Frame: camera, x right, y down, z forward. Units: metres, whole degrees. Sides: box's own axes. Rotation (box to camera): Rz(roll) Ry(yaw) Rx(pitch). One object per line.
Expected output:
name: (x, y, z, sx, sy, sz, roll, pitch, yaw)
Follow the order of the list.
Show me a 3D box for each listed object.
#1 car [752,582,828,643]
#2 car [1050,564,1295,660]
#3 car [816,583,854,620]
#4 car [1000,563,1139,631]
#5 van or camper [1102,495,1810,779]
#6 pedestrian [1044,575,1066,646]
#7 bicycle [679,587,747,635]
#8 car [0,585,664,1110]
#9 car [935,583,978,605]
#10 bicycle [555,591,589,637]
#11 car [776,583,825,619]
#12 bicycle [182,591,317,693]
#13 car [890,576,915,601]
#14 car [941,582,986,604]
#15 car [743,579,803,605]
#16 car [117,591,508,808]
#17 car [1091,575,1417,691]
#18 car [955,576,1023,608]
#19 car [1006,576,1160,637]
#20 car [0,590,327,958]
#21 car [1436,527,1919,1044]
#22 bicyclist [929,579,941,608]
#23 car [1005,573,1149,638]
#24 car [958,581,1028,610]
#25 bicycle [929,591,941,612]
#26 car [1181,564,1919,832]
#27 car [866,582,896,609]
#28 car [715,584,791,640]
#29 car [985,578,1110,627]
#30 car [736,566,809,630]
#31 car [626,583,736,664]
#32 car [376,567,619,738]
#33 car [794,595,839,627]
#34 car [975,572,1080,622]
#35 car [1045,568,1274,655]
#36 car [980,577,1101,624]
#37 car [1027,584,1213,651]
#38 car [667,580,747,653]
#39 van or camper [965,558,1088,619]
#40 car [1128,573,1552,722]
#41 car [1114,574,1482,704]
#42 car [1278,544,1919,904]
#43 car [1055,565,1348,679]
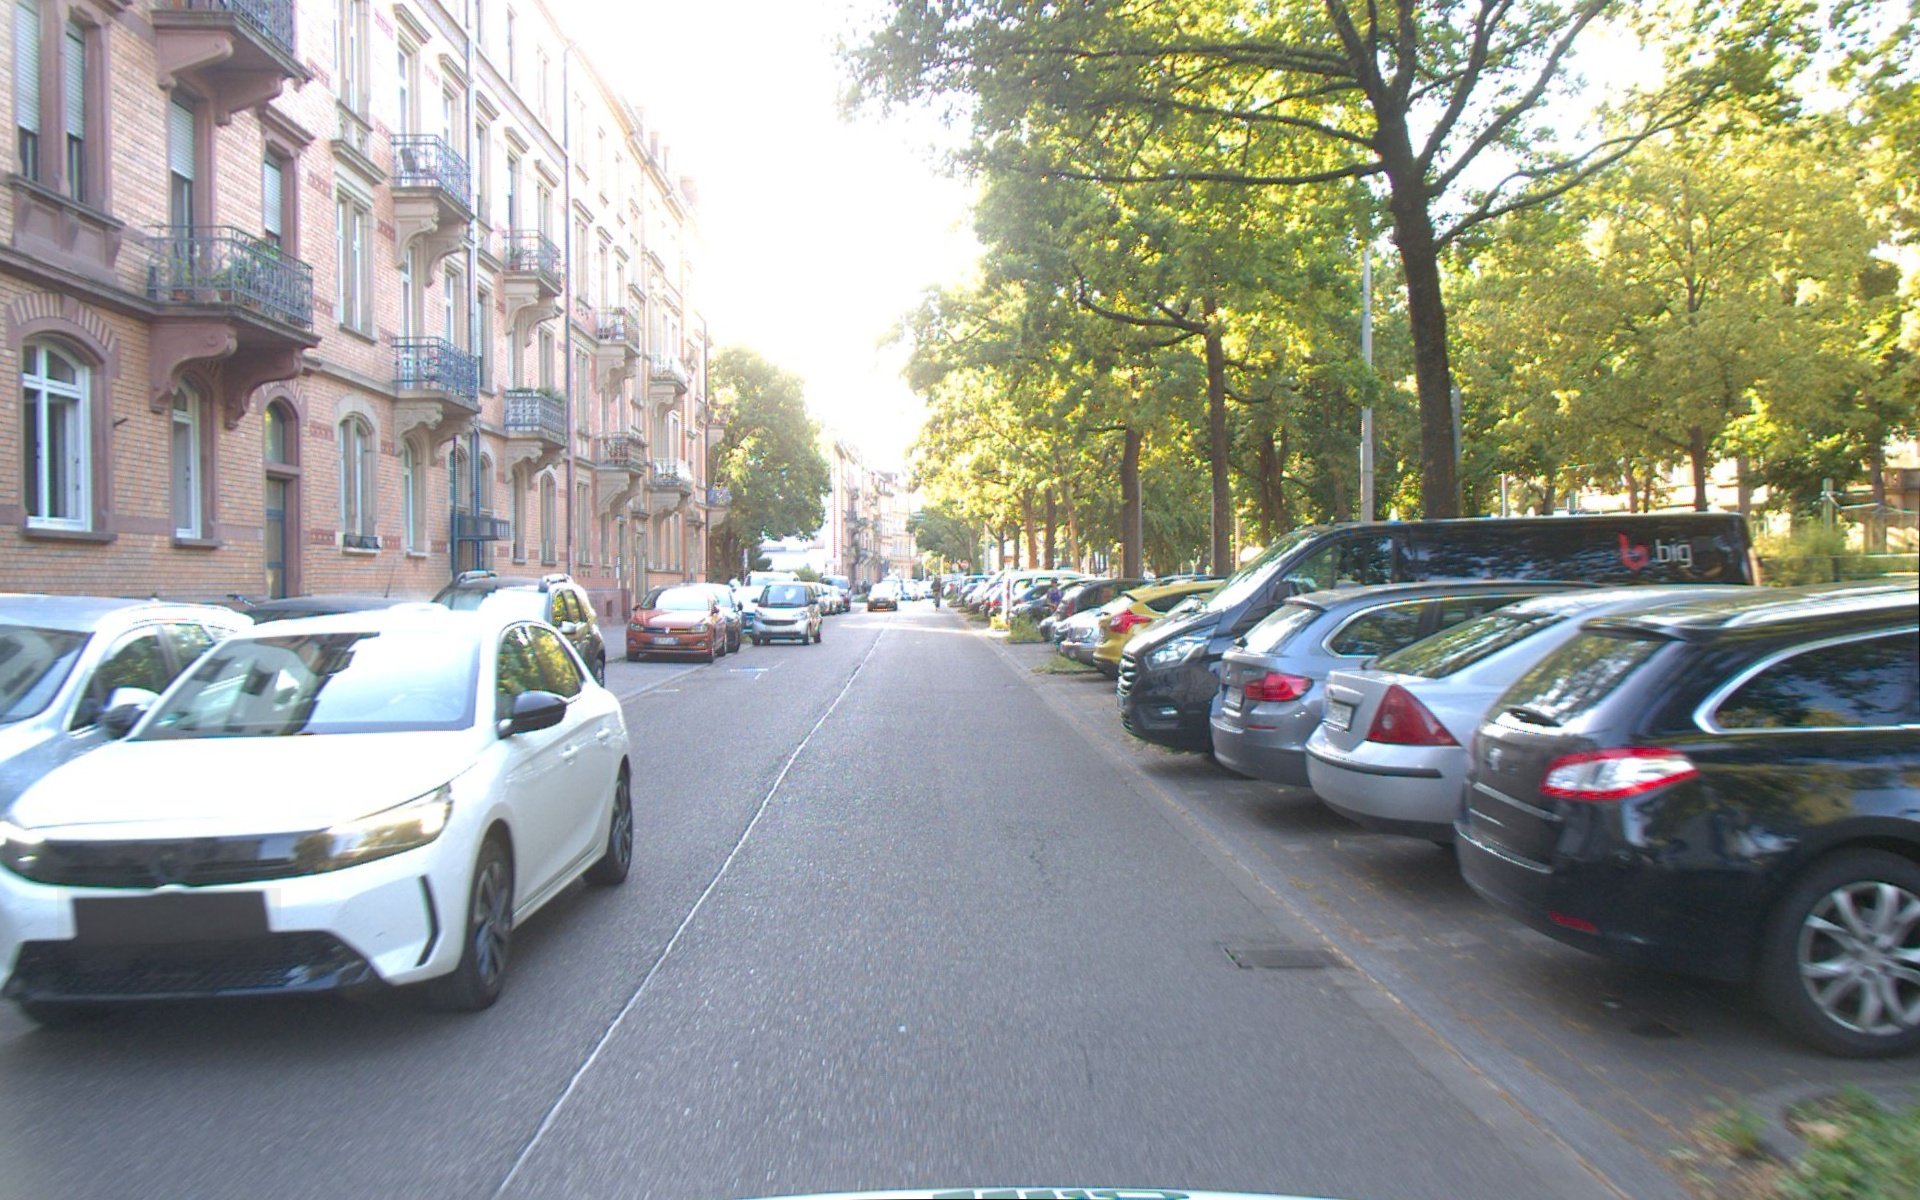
car: (-4.315, 0.301, 42.235, 1.473, 1.460, 2.754, -2, 1, 3)
car: (3.921, 0.217, 31.043, 4.310, 1.619, 1.837, -2, 0, -1)
car: (-7.111, 0.074, 94.426, 1.918, 2.053, 4.266, 0, 0, -2)
car: (3.355, -0.095, 51.352, 4.134, 1.896, 1.761, -2, 0, -1)
van or camper: (3.939, 0.269, 13.872, 5.302, 2.062, 2.030, -2, 1, 1)
pedestrian: (2.179, 0.240, 38.080, 0.372, 1.612, 0.519, 0, 2, 18)
bicycle: (-6.478, 0.285, 43.402, 1.727, 1.236, 0.428, 0, -1, -2)
car: (-2.462, 0.753, 7.088, 1.634, 1.455, 4.000, -3, 2, -1)
car: (-0.335, -0.600, 159.619, 3.902, 2.049, 2.001, 0, -1, 10)
bicycle: (-10.074, 0.372, 42.994, 0.418, 1.150, 1.769, 0, -1, 2)
car: (-6.698, 0.025, 69.707, 1.669, 1.454, 3.877, 2, 1, 0)
bicycle: (-9.354, 0.522, 21.907, 0.722, 1.227, 2.514, 0, 1, 0)
car: (-4.545, -0.872, 130.213, 1.953, 1.870, 3.998, 0, -1, -3)
car: (0.327, -0.666, 156.105, 3.902, 2.049, 2.001, 0, -1, 10)
car: (-12.925, -0.549, 114.638, 3.905, 1.736, 2.000, 0, -1, 0)
car: (-5.130, 0.694, 13.700, 1.582, 1.477, 4.001, 1, 1, 1)
car: (4.083, 0.453, 23.513, 4.308, 1.465, 1.838, -2, 0, 1)
car: (1.723, -0.456, 98.646, 3.908, 1.825, 1.857, 0, -1, -4)
car: (3.380, 0.165, 45.773, 4.001, 1.467, 1.760, -2, 0, -4)
car: (-4.892, 0.733, 8.464, 1.634, 1.497, 4.283, 2, 0, -1)
car: (4.109, 0.555, 5.955, 4.307, 1.605, 1.665, -2, -1, 3)
bicyclist: (-1.412, -0.344, 93.466, 0.615, 1.601, 0.801, 0, -1, -3)
car: (3.034, 0.141, 43.426, 3.599, 1.527, 1.761, -2, 0, -1)
car: (1.875, -0.242, 95.977, 3.908, 1.591, 1.857, 0, -1, -4)
bicycle: (-1.401, 0.078, 93.480, 0.628, 1.119, 1.943, 0, -1, -2)
car: (3.825, 0.610, 11.185, 4.313, 1.527, 1.836, -1, -1, -4)
car: (-4.504, -0.269, 94.616, 1.635, 1.489, 3.998, -2, 1, -2)
car: (-5.925, 0.319, 47.682, 1.640, 1.480, 4.209, -2, 1, -1)
car: (2.951, 0.074, 55.860, 4.132, 1.478, 1.649, -2, 0, 3)
car: (-6.014, -0.007, 53.532, 1.953, 1.955, 5.037, 0, -1, -3)
car: (-5.616, 0.439, 33.670, 1.719, 1.489, 3.998, 2, 1, -3)
car: (-5.152, 0.519, 18.986, 1.716, 1.735, 4.199, 0, 1, -2)
car: (-6.935, 0.511, 80.237, 1.720, 1.491, 4.269, 0, 0, 1)
car: (2.564, -0.117, 63.824, 3.906, 1.721, 1.859, -2, 0, -1)
car: (4.015, 0.225, 33.647, 4.315, 1.619, 1.835, -2, 0, -6)
car: (2.827, 0.012, 58.752, 4.134, 1.478, 1.864, -2, 0, -1)
car: (3.401, 0.355, 35.554, 3.766, 1.301, 1.690, -2, 0, -3)
car: (-5.829, 0.357, 38.404, 1.714, 1.573, 4.145, 1, 0, -7)
van or camper: (2.722, -0.468, 68.387, 4.882, 2.419, 2.183, 0, -1, -3)
car: (4.188, 0.507, 18.678, 4.311, 1.465, 1.837, -2, 0, -3)
car: (4.204, 0.478, 21.078, 4.308, 1.465, 1.838, -2, 0, 1)
car: (3.967, 0.571, 8.550, 4.308, 1.605, 1.664, -2, -1, 1)
car: (3.758, 0.337, 26.263, 4.311, 1.619, 1.837, -2, 0, -2)
